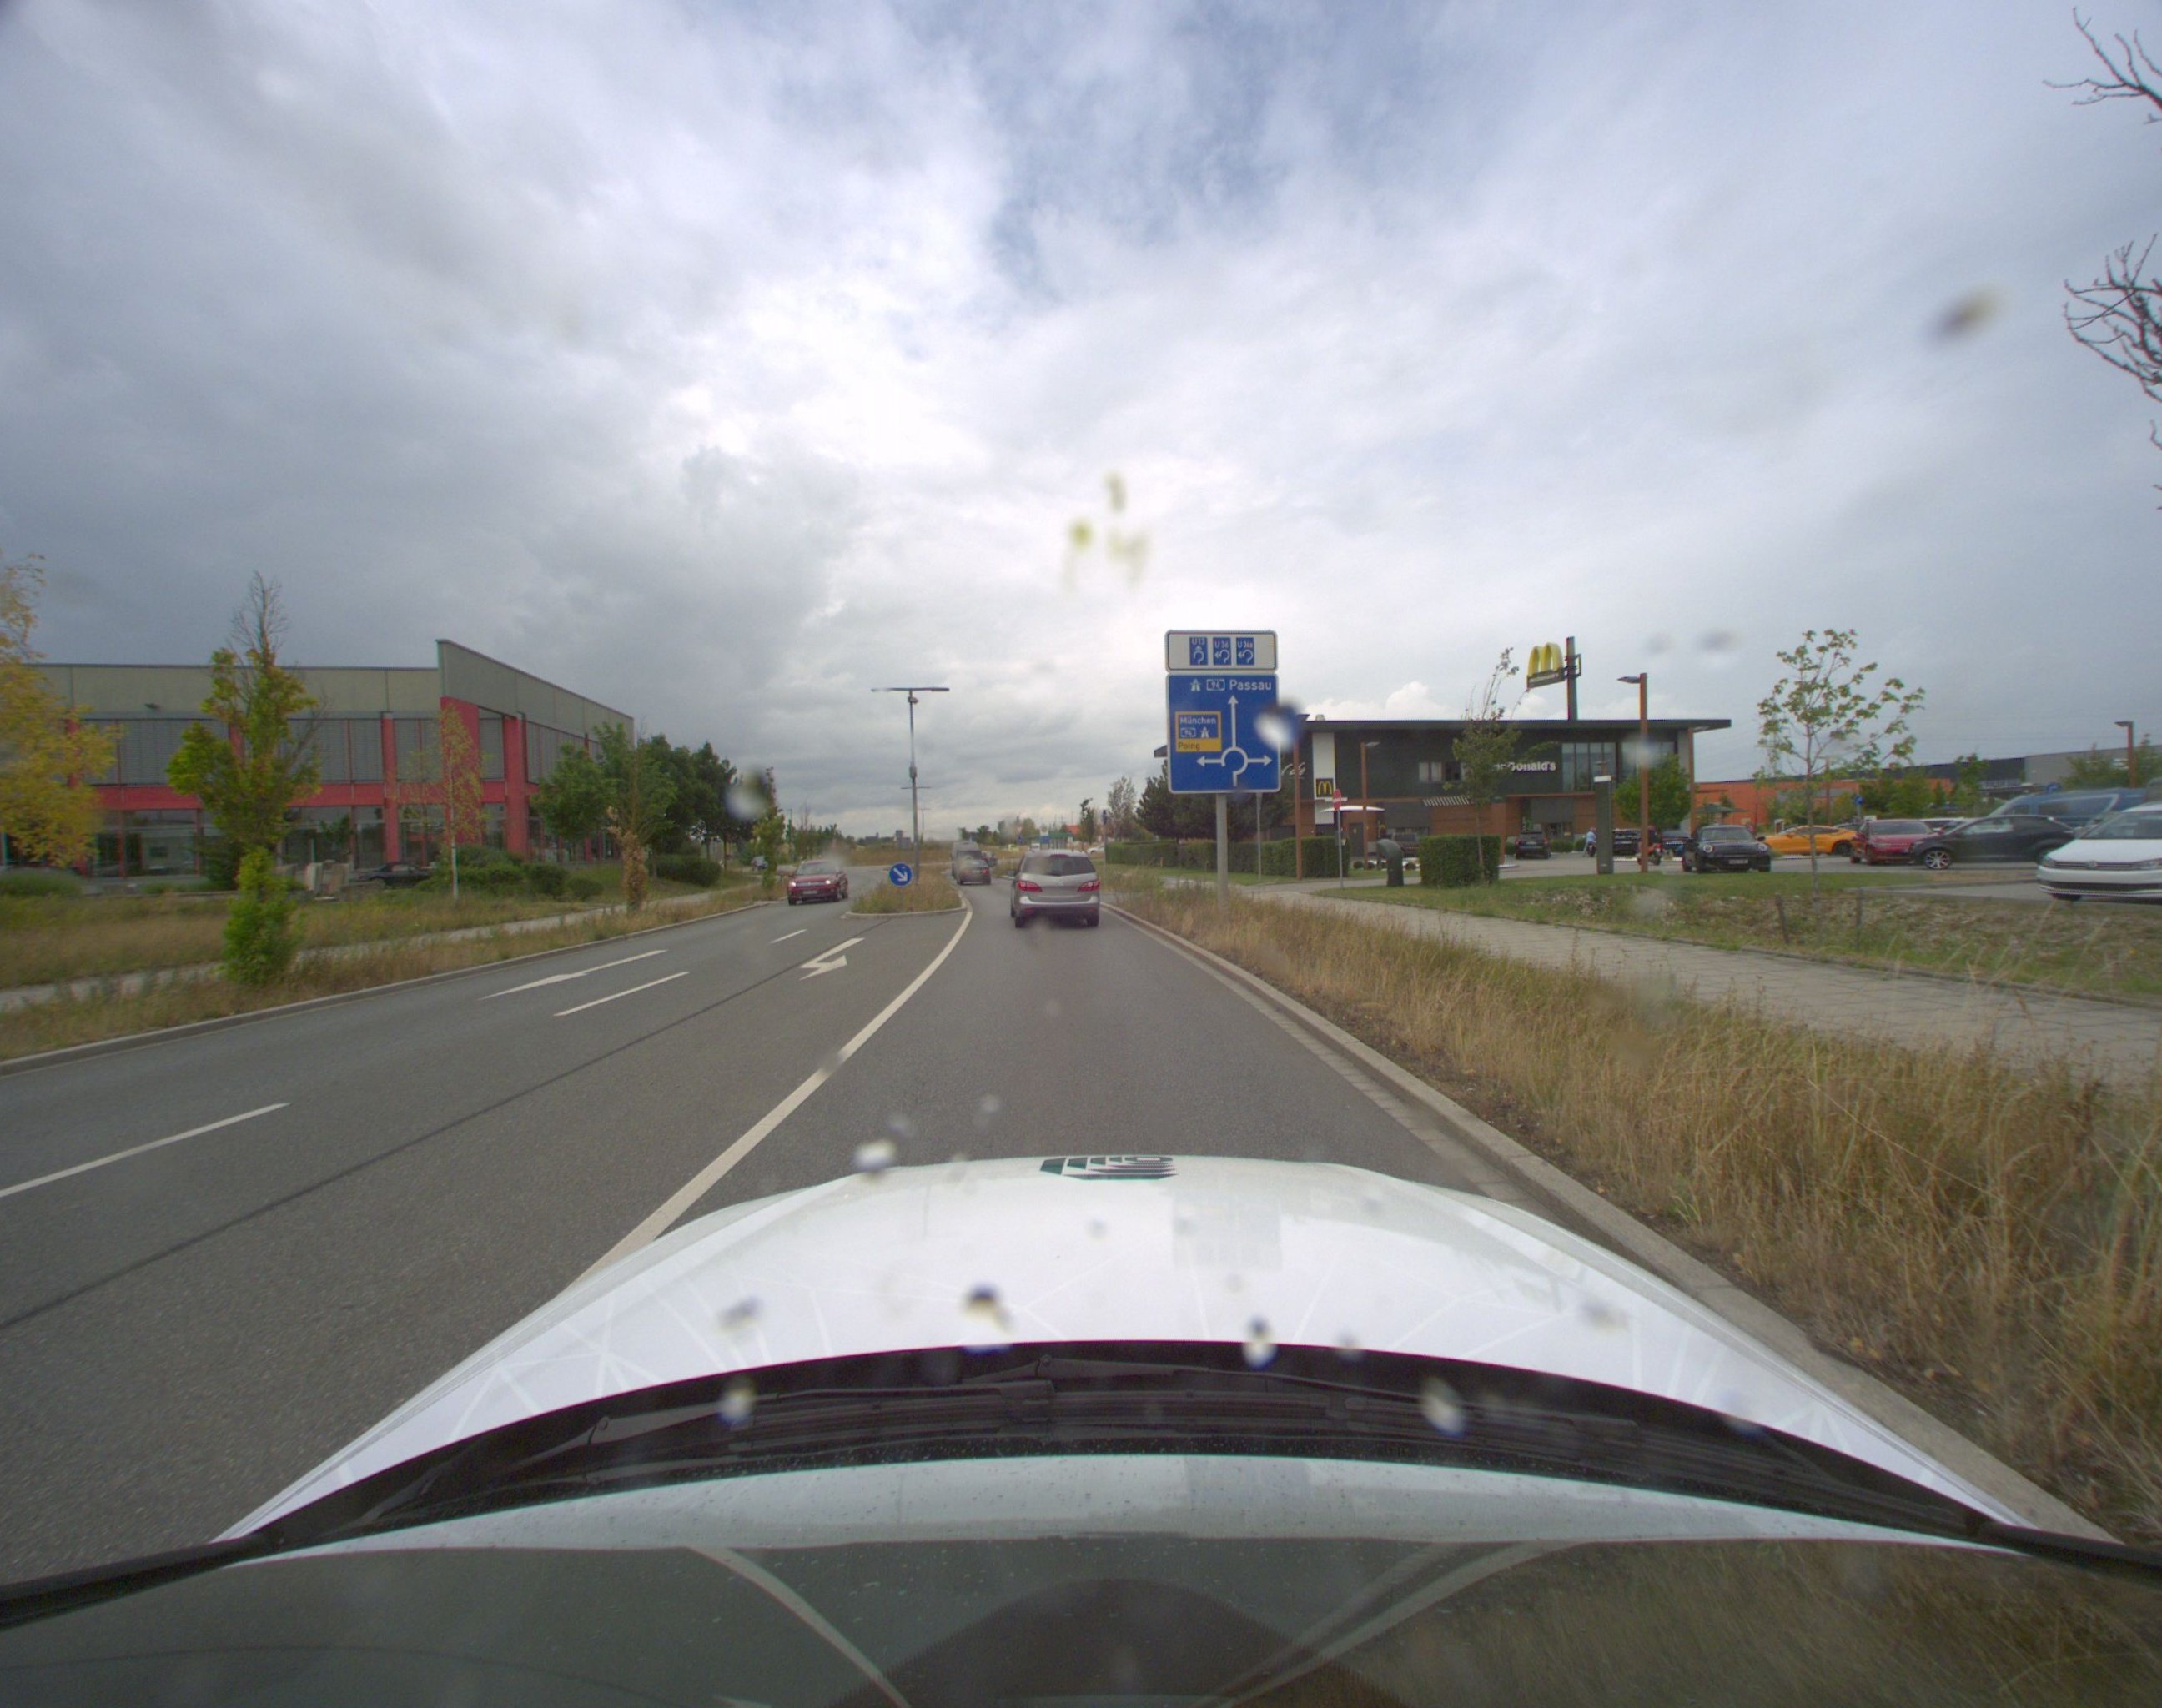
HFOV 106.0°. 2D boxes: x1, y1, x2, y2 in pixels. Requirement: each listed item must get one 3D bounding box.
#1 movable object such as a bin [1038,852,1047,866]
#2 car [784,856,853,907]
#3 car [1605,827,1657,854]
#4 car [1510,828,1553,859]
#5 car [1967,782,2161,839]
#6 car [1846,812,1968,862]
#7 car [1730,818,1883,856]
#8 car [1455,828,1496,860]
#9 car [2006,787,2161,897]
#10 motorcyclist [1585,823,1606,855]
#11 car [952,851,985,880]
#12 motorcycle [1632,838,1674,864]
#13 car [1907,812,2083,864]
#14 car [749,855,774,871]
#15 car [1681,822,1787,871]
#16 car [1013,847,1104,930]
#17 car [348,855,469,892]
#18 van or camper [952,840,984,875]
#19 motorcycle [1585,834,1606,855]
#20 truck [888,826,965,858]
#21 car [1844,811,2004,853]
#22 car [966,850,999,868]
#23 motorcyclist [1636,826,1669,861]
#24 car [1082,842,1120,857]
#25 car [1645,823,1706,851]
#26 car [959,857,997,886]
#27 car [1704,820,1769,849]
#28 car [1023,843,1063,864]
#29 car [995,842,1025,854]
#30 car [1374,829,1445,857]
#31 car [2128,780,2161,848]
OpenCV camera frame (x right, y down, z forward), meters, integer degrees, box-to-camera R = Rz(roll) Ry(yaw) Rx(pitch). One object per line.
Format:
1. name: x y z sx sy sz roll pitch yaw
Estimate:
1. movable object such as a bin: -2.228 0.301 47.447 0.456 0.798 0.378 -2 0 -12
2. car: -9.930 0.987 31.119 1.799 1.669 4.311 -4 0 -10
3. car: 33.134 -0.824 49.185 1.769 1.497 4.022 -1 0 22
4. car: 26.829 -0.652 48.442 2.095 1.717 4.257 -1 0 30
5. car: 49.849 -2.150 41.551 5.969 2.528 2.296 -2 1 39
6. car: 26.371 -0.563 26.163 1.980 1.429 4.181 -2 1 35
7. car: 31.345 -0.702 35.405 4.672 1.443 2.013 -2 0 32
8. car: 22.743 -0.563 46.962 1.975 1.717 4.024 -1 0 26
9. car: 18.167 -0.264 13.384 4.347 1.639 1.931 -2 1 -10
10. motorcyclist: 30.524 -0.873 48.339 0.952 1.832 0.850 -1 0 27
11. car: -7.567 0.743 54.743 2.057 1.826 4.772 -2 0 -9
12. motorcycle: 22.599 -0.130 32.204 0.733 0.985 1.831 -2 0 14
13. car: 24.445 -0.405 21.927 1.534 1.309 3.052 -2 0 -44
14. car: -32.222 0.889 82.100 1.852 1.407 3.963 -4 1 -29
15. car: 19.581 -0.257 24.594 1.794 1.313 3.873 -2 1 28
16. car: -0.595 0.658 17.861 1.727 1.600 3.799 -1 0 -6
17. car: -32.338 0.911 39.281 4.410 1.552 1.976 -2 0 -41
18. van or camper: -8.574 0.254 62.148 2.301 2.506 5.193 -1 0 -7
19. motorcycle: 30.541 -0.573 48.340 0.848 1.244 1.978 -1 0 27
20. truck: -20.143 -1.573 106.717 9.280 3.906 3.141 -2 0 -2
21. car: 38.199 -0.978 37.102 4.673 1.656 2.013 -2 0 30
22. car: -8.823 0.395 73.144 1.983 1.515 4.008 -2 0 7
23. motorcyclist: 22.580 -0.423 32.201 0.774 1.334 0.900 -2 0 14
24. car: 2.509 -0.551 101.594 4.588 1.757 1.999 -2 0 -1
25. car: 36.208 -1.016 49.736 1.977 1.581 4.020 -1 0 20
26. car: -5.604 0.898 44.036 1.845 1.418 4.210 -2 1 -10
27. car: 40.413 -1.192 50.188 4.016 1.722 1.979 -2 0 -34
28. car: -3.947 -0.084 86.029 1.974 2.013 4.654 -2 0 31
29. car: -9.432 -0.765 107.404 2.010 1.515 3.953 -2 0 -40
30. car: 22.091 -0.739 54.843 3.989 1.717 1.993 -1 0 -11
31. car: 39.861 -1.461 27.965 2.252 2.501 7.375 -2 1 31
